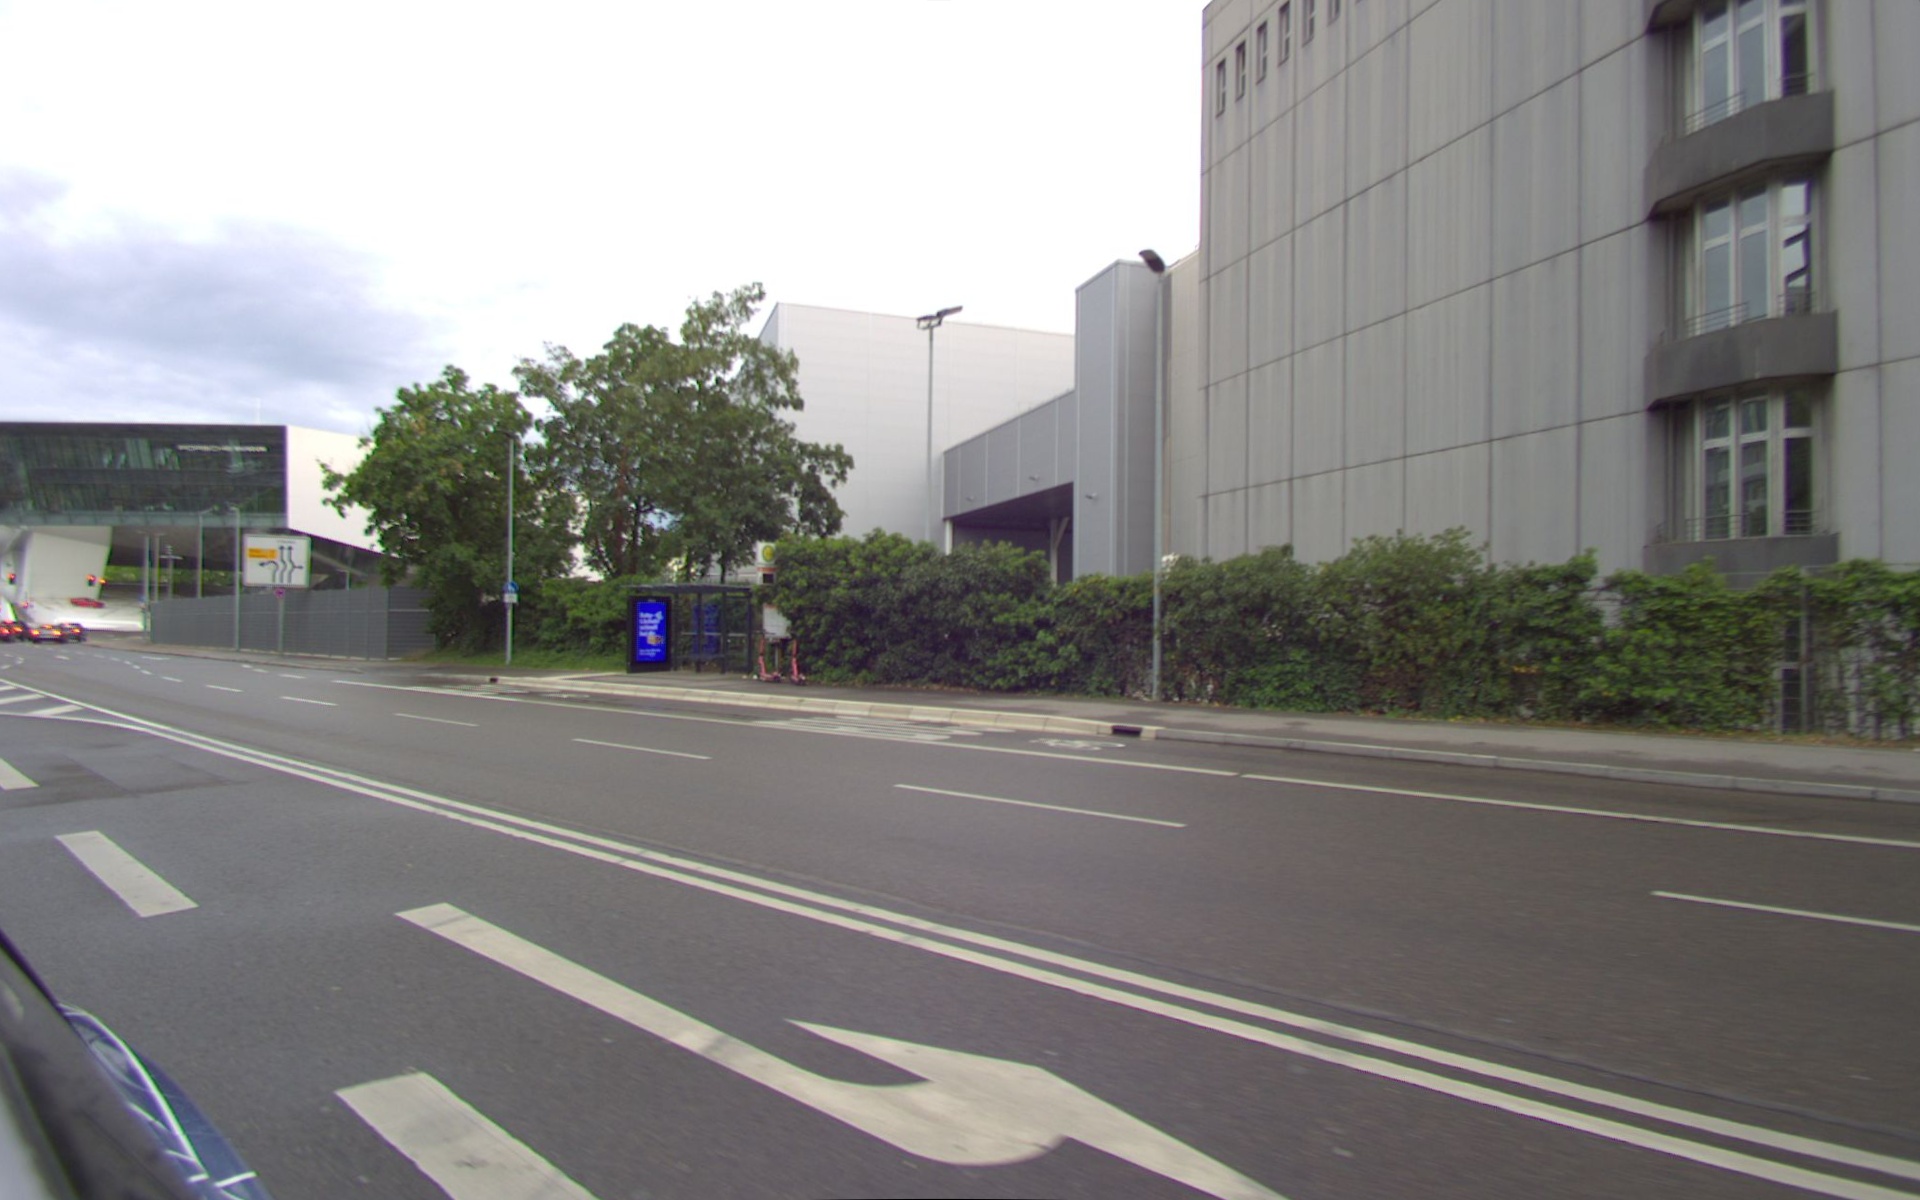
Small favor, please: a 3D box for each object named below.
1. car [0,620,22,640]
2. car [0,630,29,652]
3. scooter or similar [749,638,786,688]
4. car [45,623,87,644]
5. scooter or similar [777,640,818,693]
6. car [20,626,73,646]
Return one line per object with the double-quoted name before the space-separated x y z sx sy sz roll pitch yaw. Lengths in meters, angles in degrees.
"car" -71.960 2.236 75.445 2.221 1.488 3.890 1 -2 -32
"car" -74.988 3.227 79.647 1.850 1.663 3.862 1 -2 -33
"scooter or similar" -4.710 1.523 24.749 0.383 1.189 1.253 1 -2 -36
"car" -72.746 2.730 82.412 1.834 1.663 3.799 1 -2 -30
"scooter or similar" -3.777 1.522 23.482 0.373 1.190 1.381 1 -2 -36
"car" -68.785 2.687 76.301 2.233 1.488 4.059 1 -2 -32
